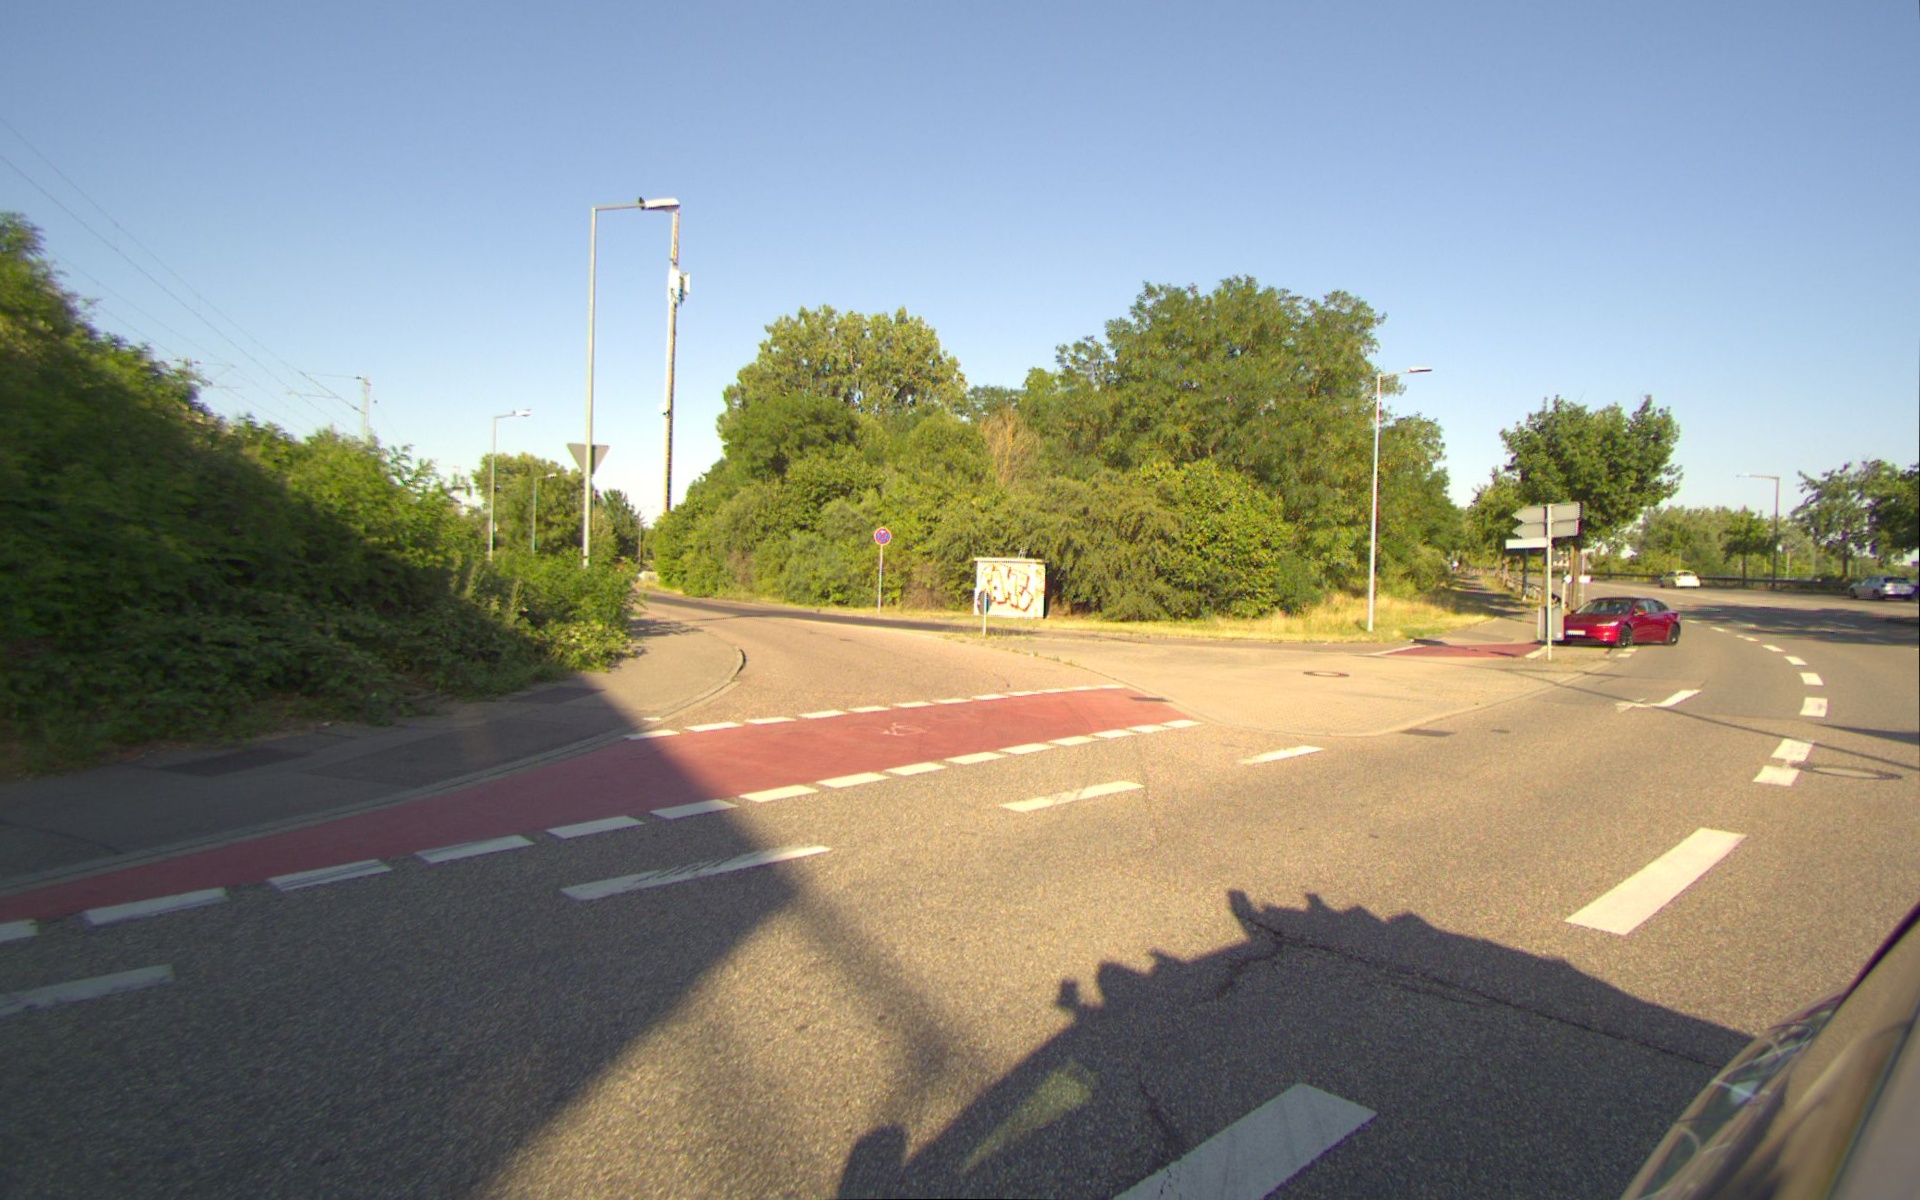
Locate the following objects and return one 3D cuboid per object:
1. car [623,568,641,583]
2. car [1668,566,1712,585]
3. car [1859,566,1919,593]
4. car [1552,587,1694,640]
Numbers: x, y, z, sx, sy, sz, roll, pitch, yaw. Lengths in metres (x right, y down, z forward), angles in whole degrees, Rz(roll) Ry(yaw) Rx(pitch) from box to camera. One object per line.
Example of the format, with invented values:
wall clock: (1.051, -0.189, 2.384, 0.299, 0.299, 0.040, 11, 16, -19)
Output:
car: (-32.101, -2.414, 99.014, 1.618, 1.465, 3.648, 0, 2, -17)
car: (58.676, -1.989, 81.436, 1.723, 1.481, 3.745, 0, 1, 17)
car: (55.216, -1.235, 59.700, 1.654, 1.480, 4.086, 1, 2, 16)
car: (19.253, 0.380, 29.345, 4.273, 1.460, 1.784, 0, -1, -31)
